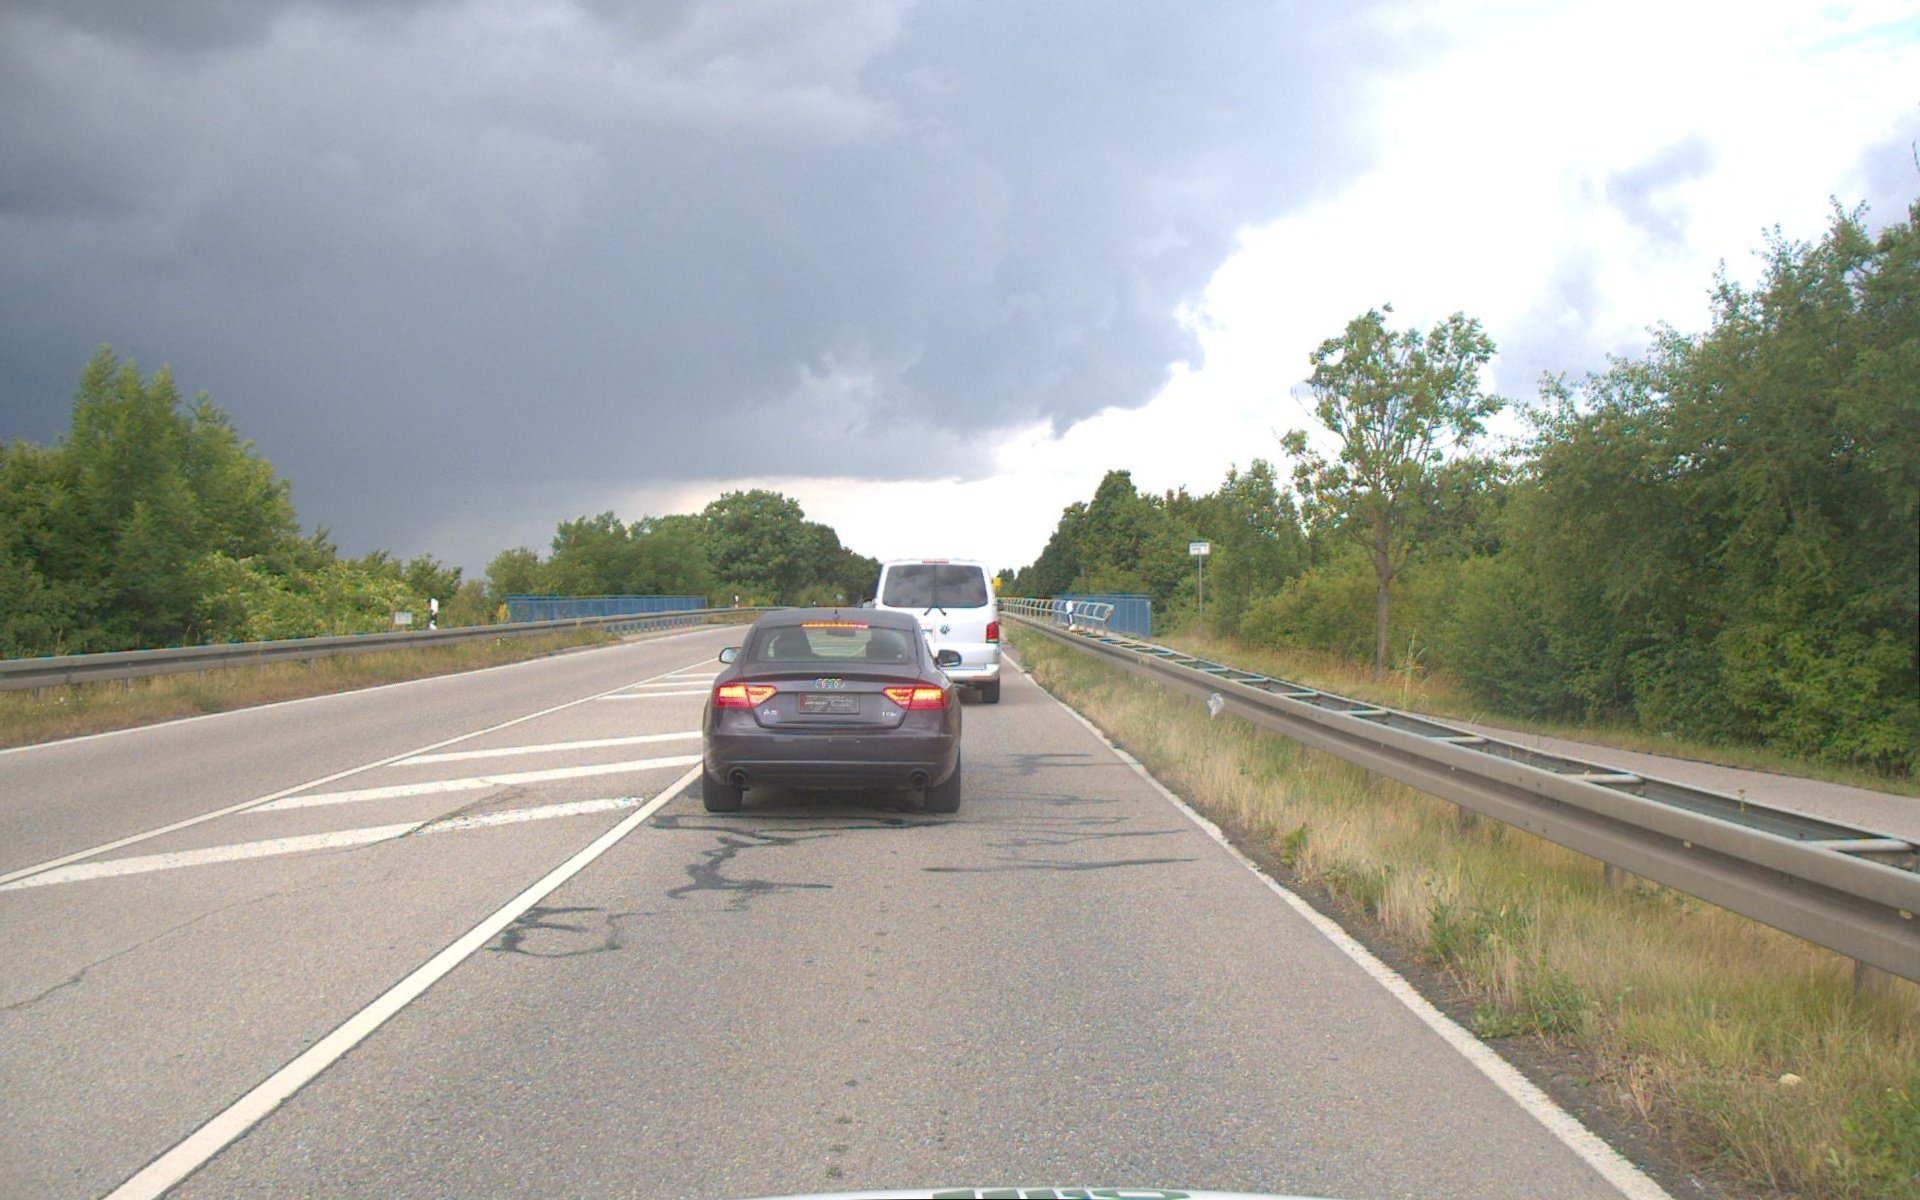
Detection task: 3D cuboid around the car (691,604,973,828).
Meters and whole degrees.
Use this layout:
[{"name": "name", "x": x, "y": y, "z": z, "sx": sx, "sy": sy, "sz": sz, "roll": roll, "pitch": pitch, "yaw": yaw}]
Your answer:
[{"name": "car", "x": -0.846, "y": 0.742, "z": 12.579, "sx": 1.784, "sy": 1.405, "sz": 4.071, "roll": 0, "pitch": 0, "yaw": -1}]

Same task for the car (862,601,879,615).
[{"name": "car", "x": -9.654, "y": 0.875, "z": 177.998, "sx": 1.763, "sy": 1.475, "sz": 4.444, "roll": 0, "pitch": 0, "yaw": -2}]

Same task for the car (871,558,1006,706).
[{"name": "car", "x": -0.315, "y": 0.427, "z": 24.110, "sx": 1.791, "sy": 1.969, "sz": 3.999, "roll": 0, "pitch": 0, "yaw": -1}]
